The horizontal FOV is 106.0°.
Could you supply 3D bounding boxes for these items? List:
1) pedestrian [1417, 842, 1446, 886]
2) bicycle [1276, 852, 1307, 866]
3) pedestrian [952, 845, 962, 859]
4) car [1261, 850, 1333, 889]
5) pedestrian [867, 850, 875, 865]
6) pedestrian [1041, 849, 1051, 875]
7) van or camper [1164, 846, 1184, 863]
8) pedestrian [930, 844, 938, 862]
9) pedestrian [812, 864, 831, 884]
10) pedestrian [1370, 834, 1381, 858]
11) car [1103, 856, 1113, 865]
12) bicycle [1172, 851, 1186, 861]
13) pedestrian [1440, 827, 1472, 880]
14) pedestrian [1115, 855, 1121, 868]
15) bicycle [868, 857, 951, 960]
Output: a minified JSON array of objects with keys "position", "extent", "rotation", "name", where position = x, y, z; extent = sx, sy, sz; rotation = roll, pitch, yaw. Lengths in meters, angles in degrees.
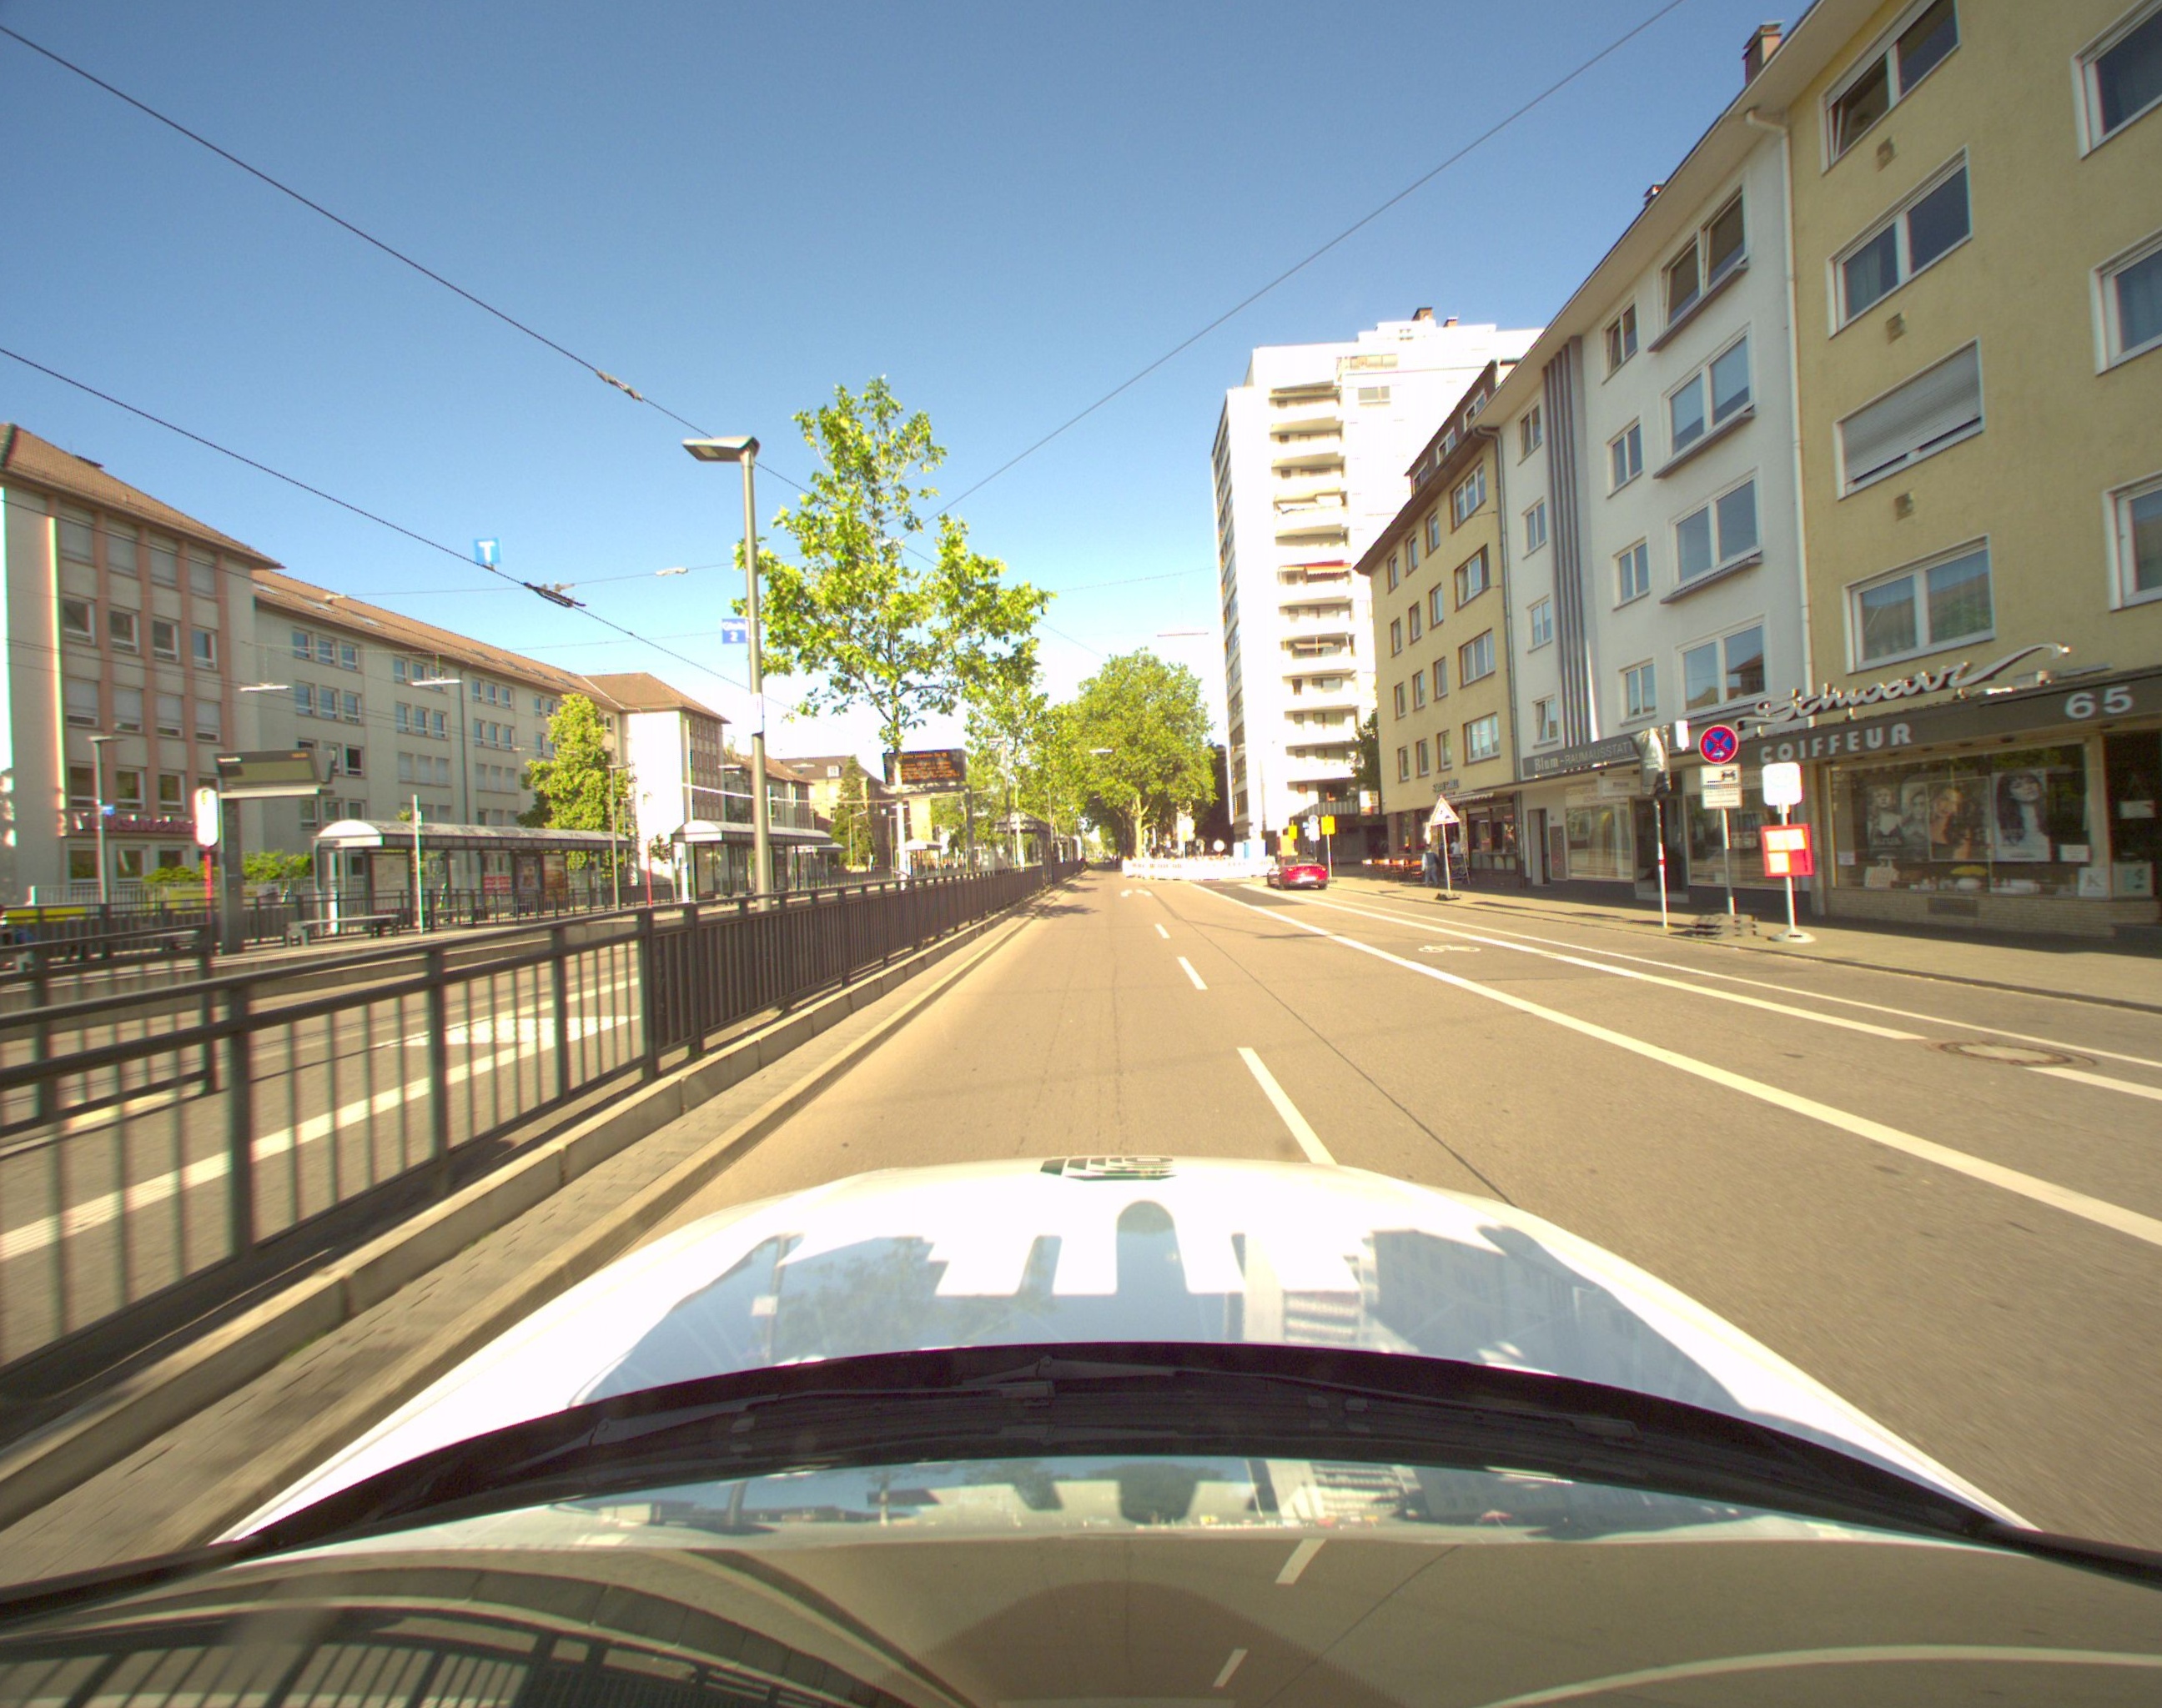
[{"position":[12.360,0.347,28.739],"extent":[0.668,1.506,0.652],"rotation":[-3,-1,2],"name":"pedestrian"},{"position":[15.268,0.390,59.142],"extent":[2.011,0.943,1.023],"rotation":[-2,0,21],"name":"bicycle"},{"position":[-15.253,-0.244,100.076],"extent":[0.949,1.736,0.731],"rotation":[-3,0,4],"name":"pedestrian"},{"position":[8.973,0.606,34.304],"extent":[1.864,1.443,5.163],"rotation":[-3,0,3],"name":"car"},{"position":[-25.052,0.405,97.083],"extent":[0.690,1.837,0.573],"rotation":[-3,0,1],"name":"pedestrian"},{"position":[-2.702,0.607,62.925],"extent":[0.665,2.013,0.716],"rotation":[-2,0,0],"name":"pedestrian"},{"position":[12.911,0.107,113.133],"extent":[2.282,2.286,5.825],"rotation":[-2,0,2],"name":"van or camper"},{"position":[-17.312,-0.116,96.100],"extent":[0.660,2.013,0.860],"rotation":[-3,0,1],"name":"pedestrian"},{"position":[-18.360,1.417,57.607],"extent":[0.971,1.376,0.879],"rotation":[-2,0,1],"name":"pedestrian"},{"position":[23.420,-0.622,64.774],"extent":[0.652,1.854,0.679],"rotation":[0,-1,4],"name":"pedestrian"},{"position":[5.499,1.305,165.413],"extent":[2.014,1.662,4.001],"rotation":[-3,0,2],"name":"car"},{"position":[13.159,0.215,109.284],"extent":[1.600,1.263,0.962],"rotation":[-3,0,-3],"name":"bicycle"},{"position":[13.657,-0.015,29.663],"extent":[0.725,1.854,0.902],"rotation":[-3,-1,4],"name":"pedestrian"},{"position":[4.902,1.005,107.653],"extent":[0.709,1.680,0.772],"rotation":[-3,0,0],"name":"pedestrian"},{"position":[-2.536,0.760,12.299],"extent":[0.637,1.379,2.171],"rotation":[-3,0,3],"name":"bicycle"}]
